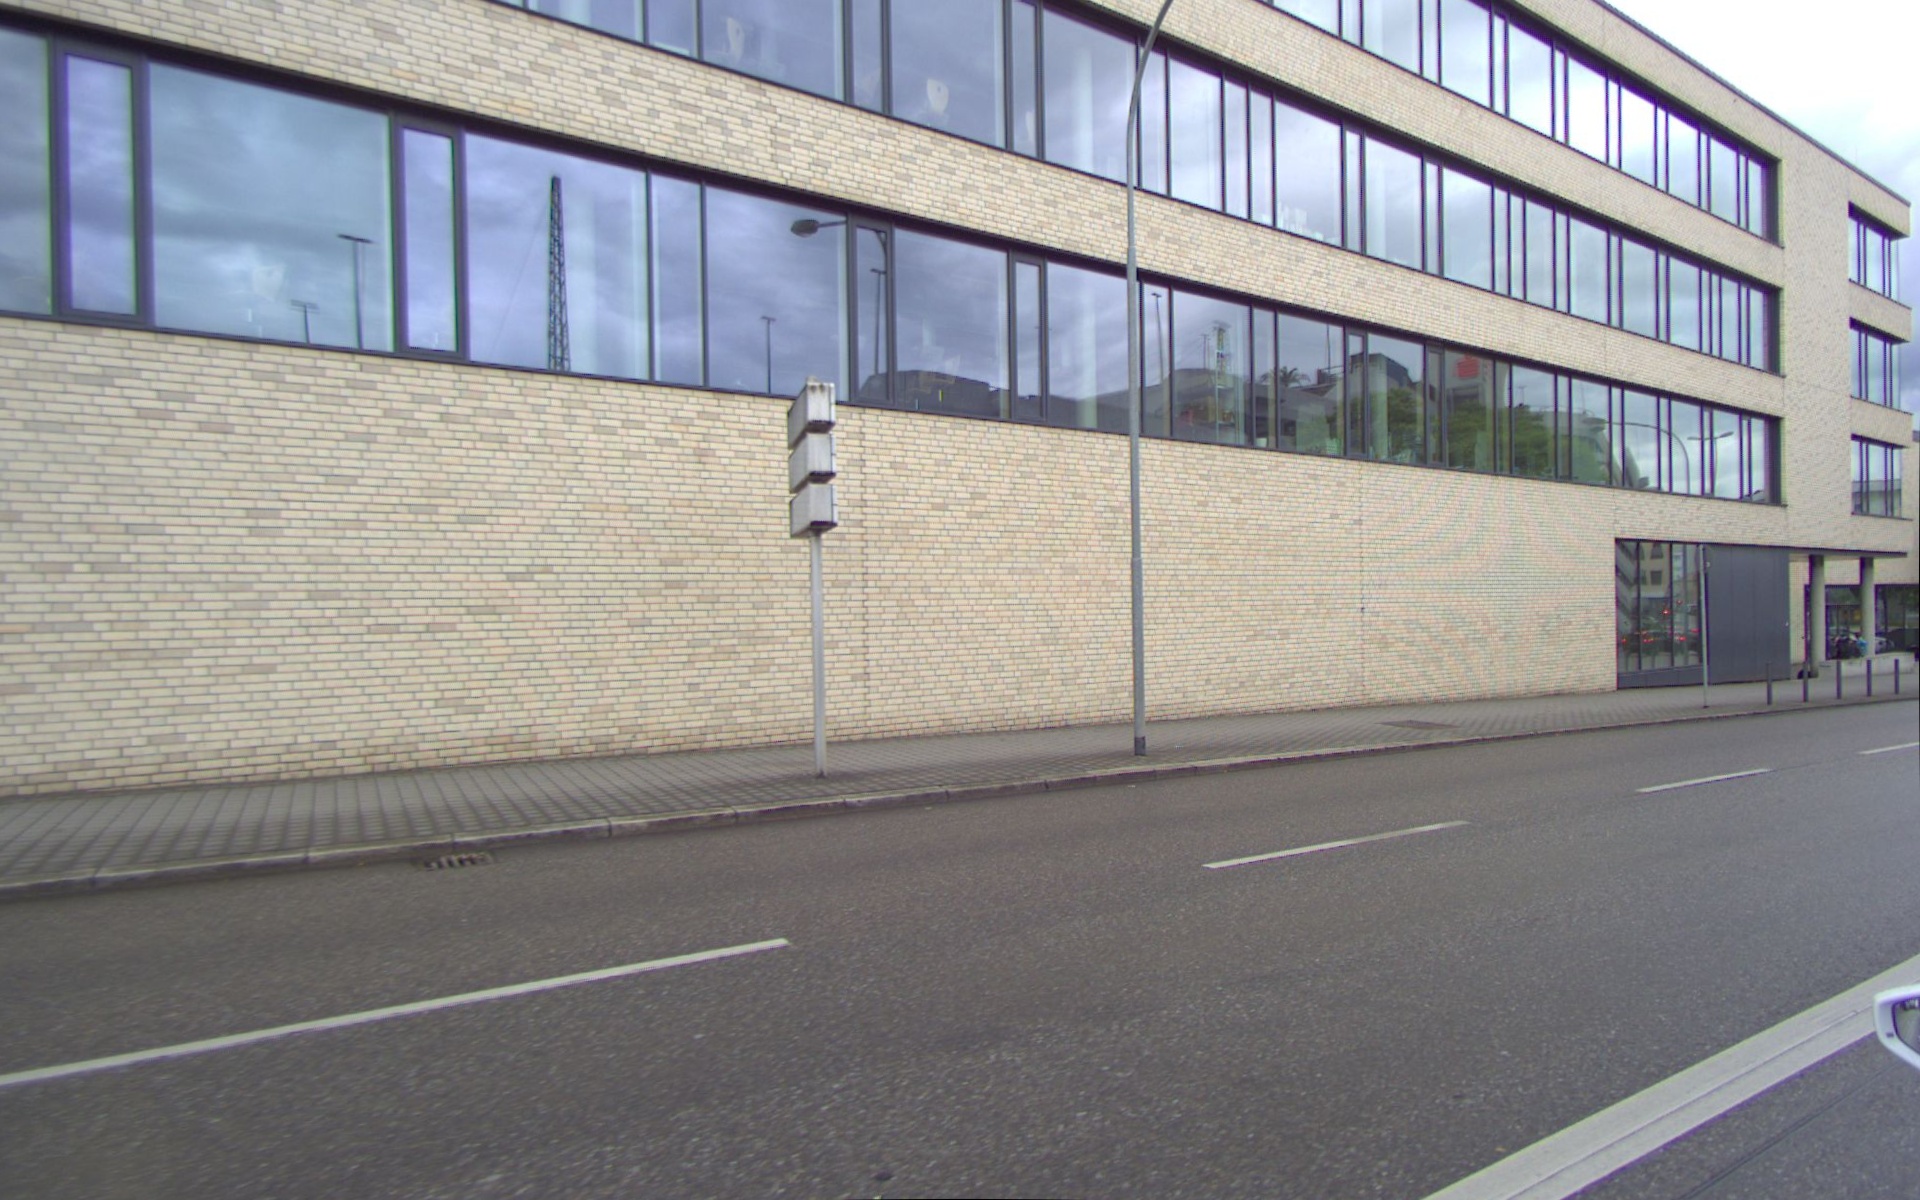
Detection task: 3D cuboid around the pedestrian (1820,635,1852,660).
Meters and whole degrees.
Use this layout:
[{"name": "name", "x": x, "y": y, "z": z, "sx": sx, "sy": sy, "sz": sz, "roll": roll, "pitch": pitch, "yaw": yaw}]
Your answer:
[{"name": "pedestrian", "x": 29.449, "y": 1.609, "z": 33.783, "sx": 0.751, "sy": 0.796, "sz": 0.595, "roll": 2, "pitch": 0, "yaw": -31}]

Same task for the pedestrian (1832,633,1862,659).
[{"name": "pedestrian", "x": 30.322, "y": 1.572, "z": 34.341, "sx": 0.719, "sy": 0.856, "sz": 0.583, "roll": 2, "pitch": -1, "yaw": -30}]

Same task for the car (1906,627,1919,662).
[{"name": "car", "x": 45.201, "y": 1.991, "z": 44.551, "sx": 1.981, "sy": 1.608, "sz": 4.437, "roll": 1, "pitch": -2, "yaw": -36}]

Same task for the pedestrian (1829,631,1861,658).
[{"name": "pedestrian", "x": 30.238, "y": 1.524, "z": 34.321, "sx": 0.518, "sy": 0.897, "sz": 0.677, "roll": 2, "pitch": 0, "yaw": -30}]

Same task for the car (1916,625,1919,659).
[{"name": "car", "x": 46.827, "y": 1.990, "z": 45.821, "sx": 1.980, "sy": 1.595, "sz": 4.387, "roll": -1, "pitch": 1, "yaw": -35}]
